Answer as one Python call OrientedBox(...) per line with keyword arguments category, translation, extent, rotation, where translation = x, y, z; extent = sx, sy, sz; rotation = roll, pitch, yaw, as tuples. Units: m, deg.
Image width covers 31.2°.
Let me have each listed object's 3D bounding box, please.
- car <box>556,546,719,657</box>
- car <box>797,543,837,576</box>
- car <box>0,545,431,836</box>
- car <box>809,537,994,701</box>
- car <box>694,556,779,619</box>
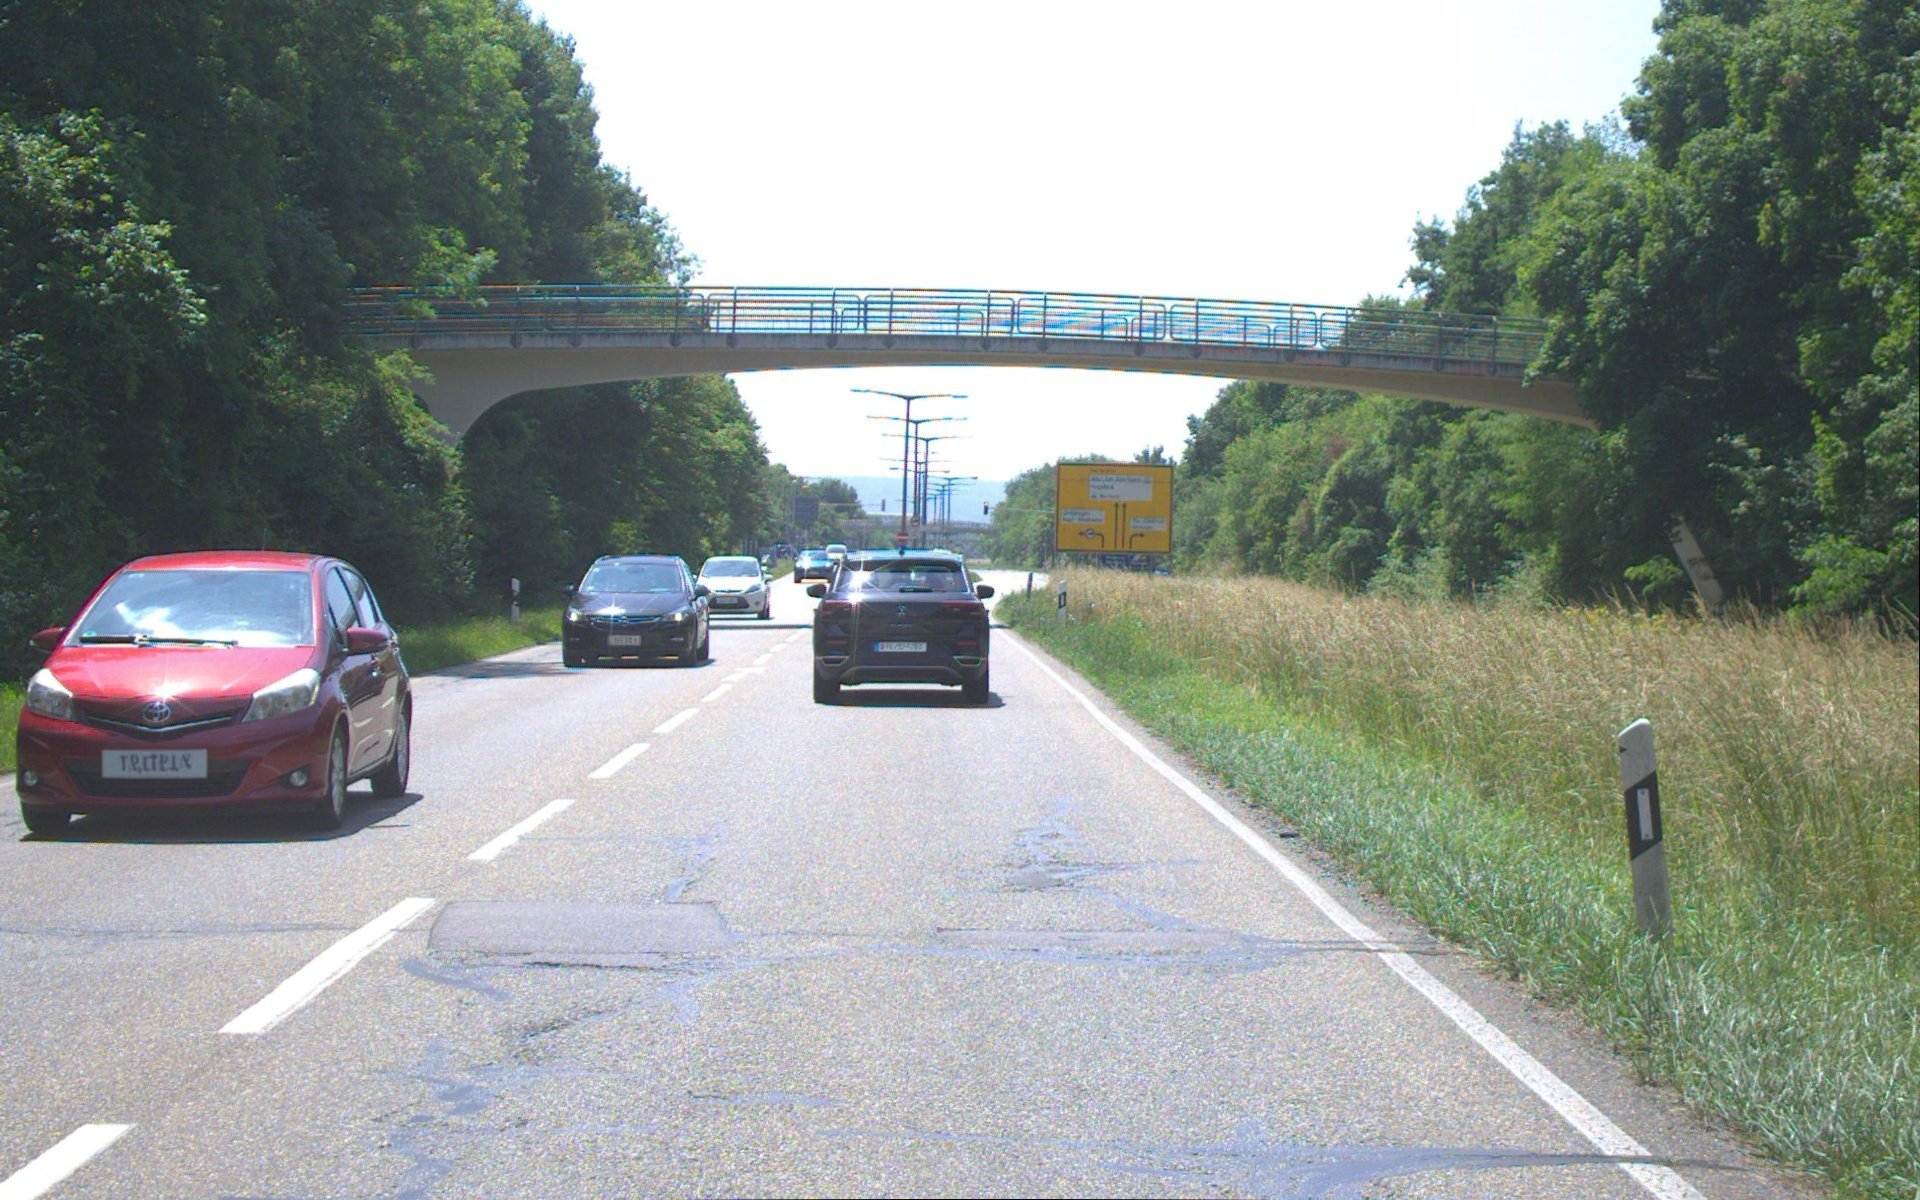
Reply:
OrientedBox(category="car", translation=(-4.346, -0.014, 46.806), extent=(1.784, 1.444, 4.109), rotation=(0, 1, 1))
OrientedBox(category="car", translation=(-7.071, -2.001, 170.706), extent=(1.823, 1.584, 4.419), rotation=(-1, 1, 0))
OrientedBox(category="car", translation=(-4.172, 0.435, 19.742), extent=(1.682, 1.488, 4.000), rotation=(0, 1, -1))
OrientedBox(category="car", translation=(-0.550, 0.172, 35.583), extent=(1.755, 1.551, 4.000), rotation=(2, 0, 1))
OrientedBox(category="car", translation=(-5.174, -0.304, 79.887), extent=(1.677, 1.428, 3.772), rotation=(0, 1, 1))
